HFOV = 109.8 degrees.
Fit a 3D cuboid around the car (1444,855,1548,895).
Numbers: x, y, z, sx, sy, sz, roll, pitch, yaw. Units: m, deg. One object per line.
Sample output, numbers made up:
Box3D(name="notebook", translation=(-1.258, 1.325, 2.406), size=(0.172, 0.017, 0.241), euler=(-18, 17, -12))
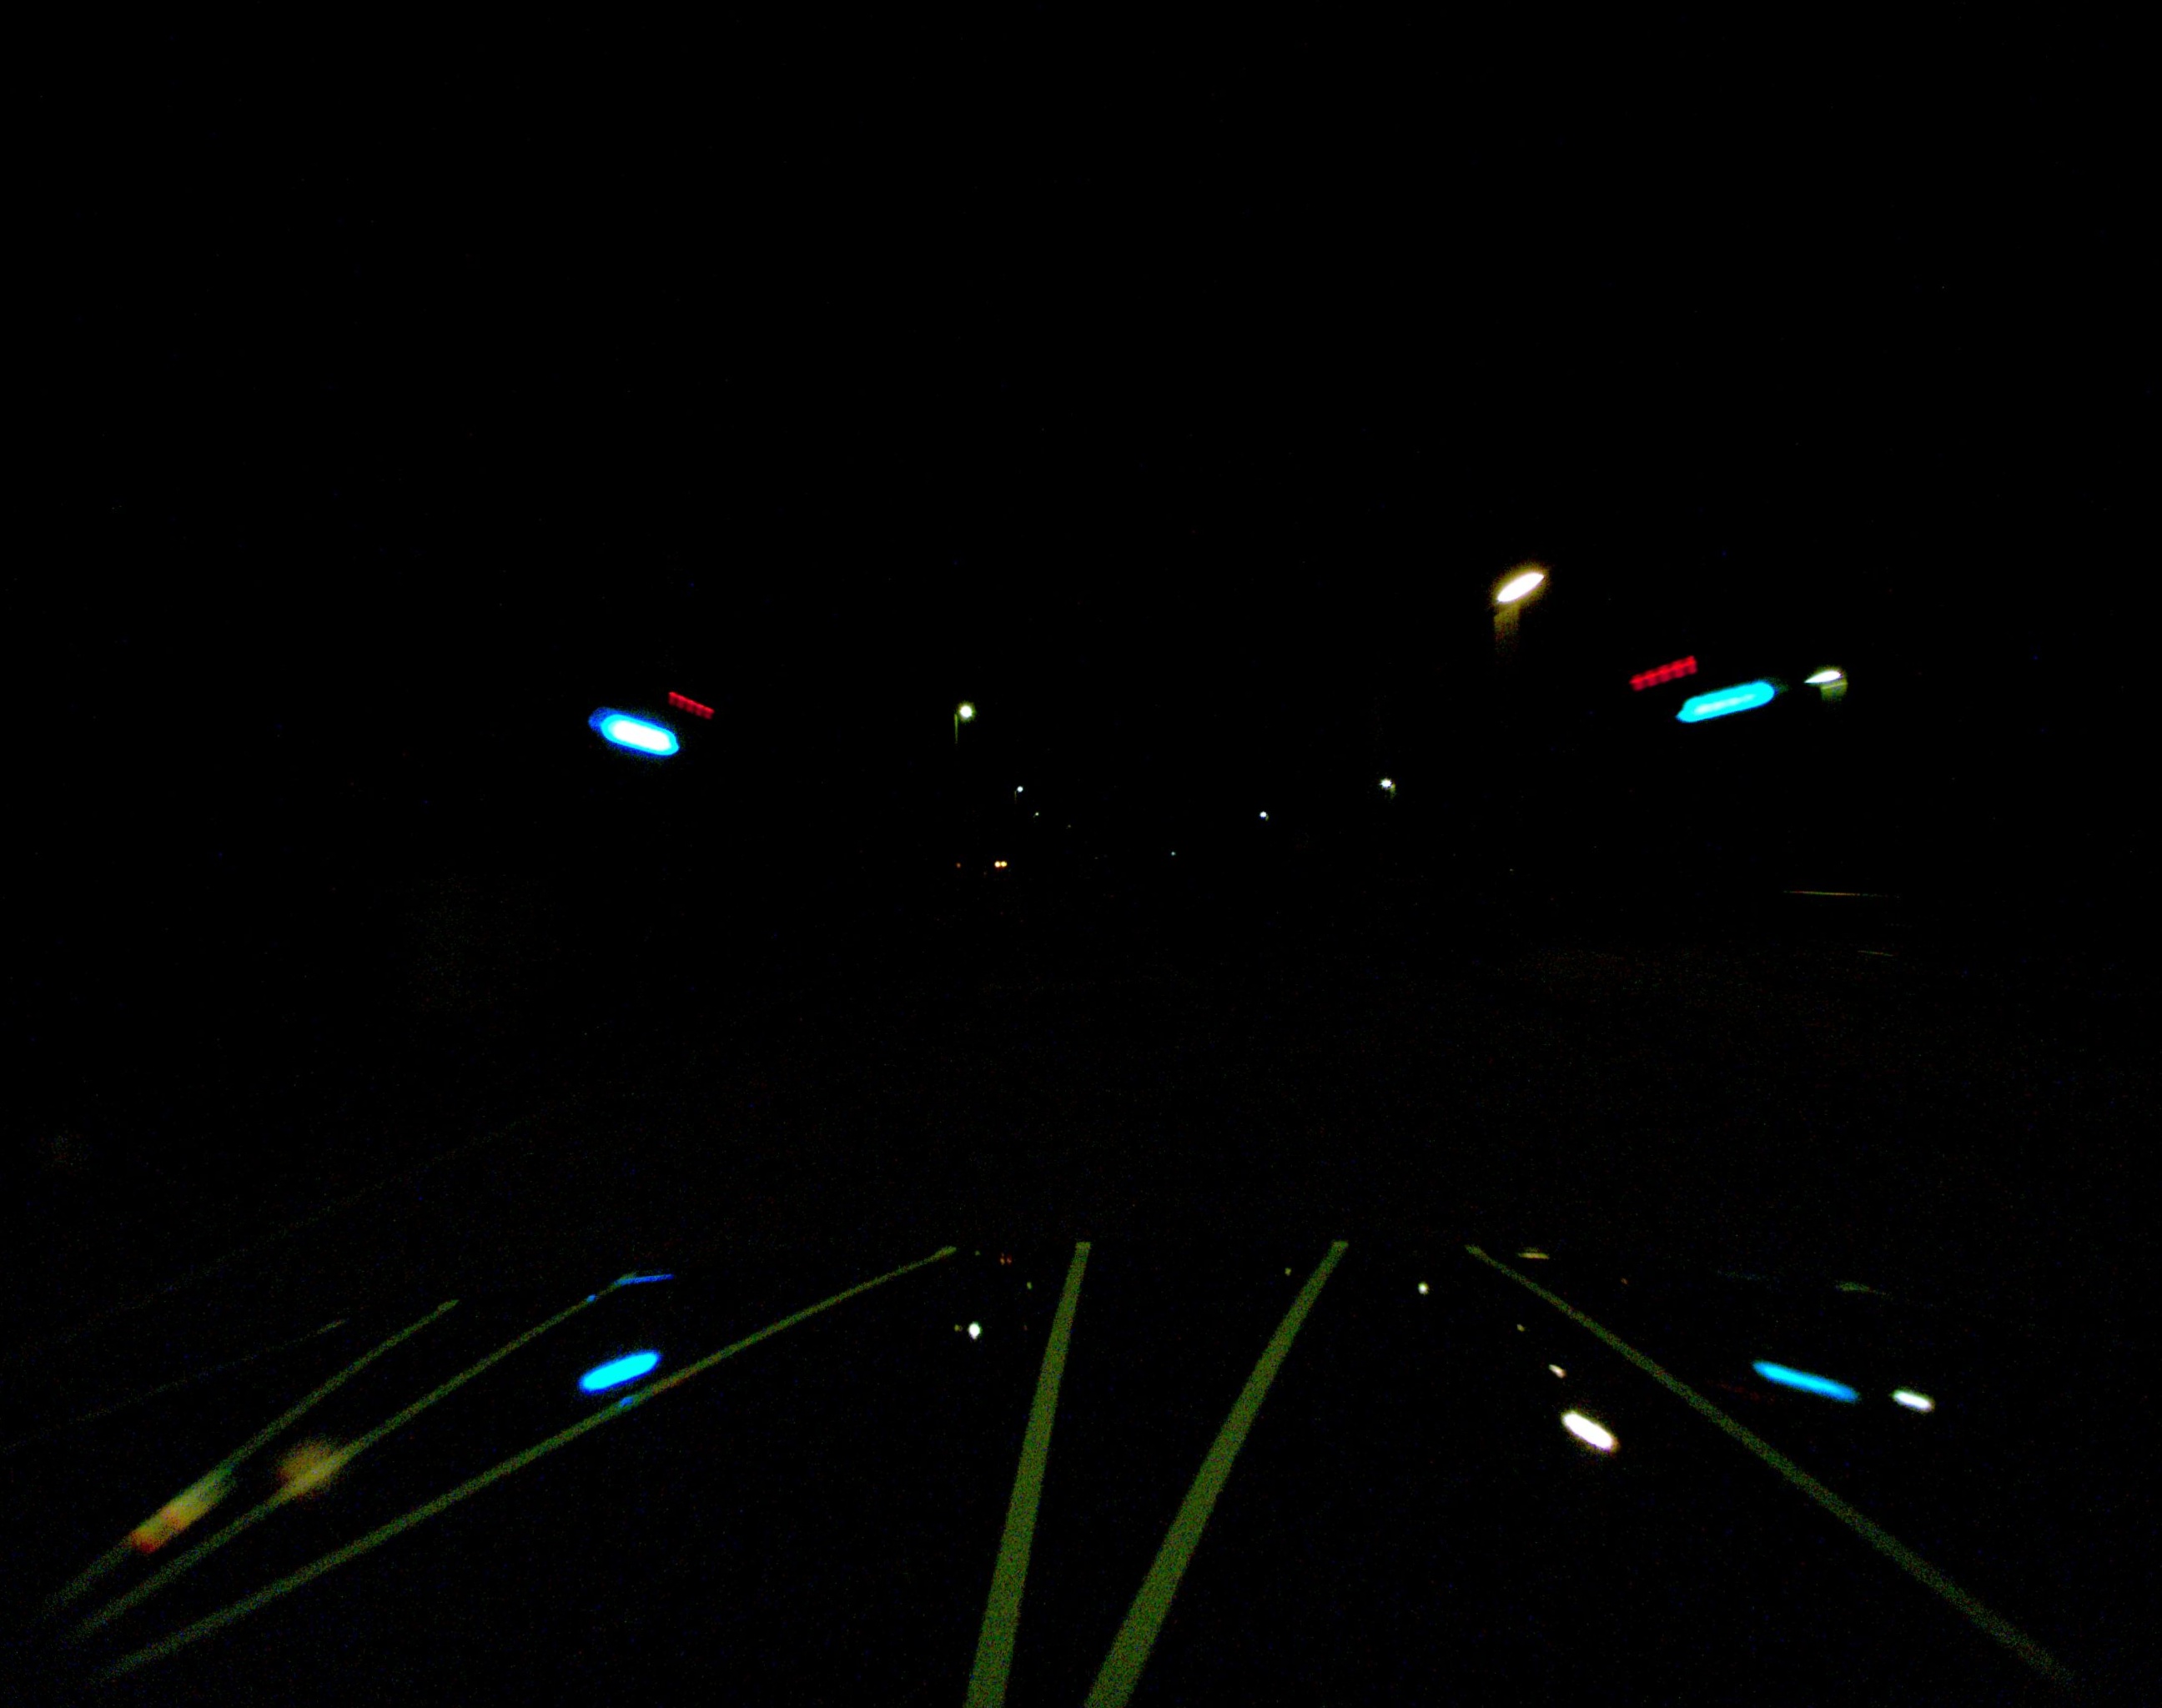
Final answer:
Box3D(name="car", translation=(16.789, 0.798, 30.979), size=(1.870, 1.496, 4.094), euler=(-1, 0, -2))
